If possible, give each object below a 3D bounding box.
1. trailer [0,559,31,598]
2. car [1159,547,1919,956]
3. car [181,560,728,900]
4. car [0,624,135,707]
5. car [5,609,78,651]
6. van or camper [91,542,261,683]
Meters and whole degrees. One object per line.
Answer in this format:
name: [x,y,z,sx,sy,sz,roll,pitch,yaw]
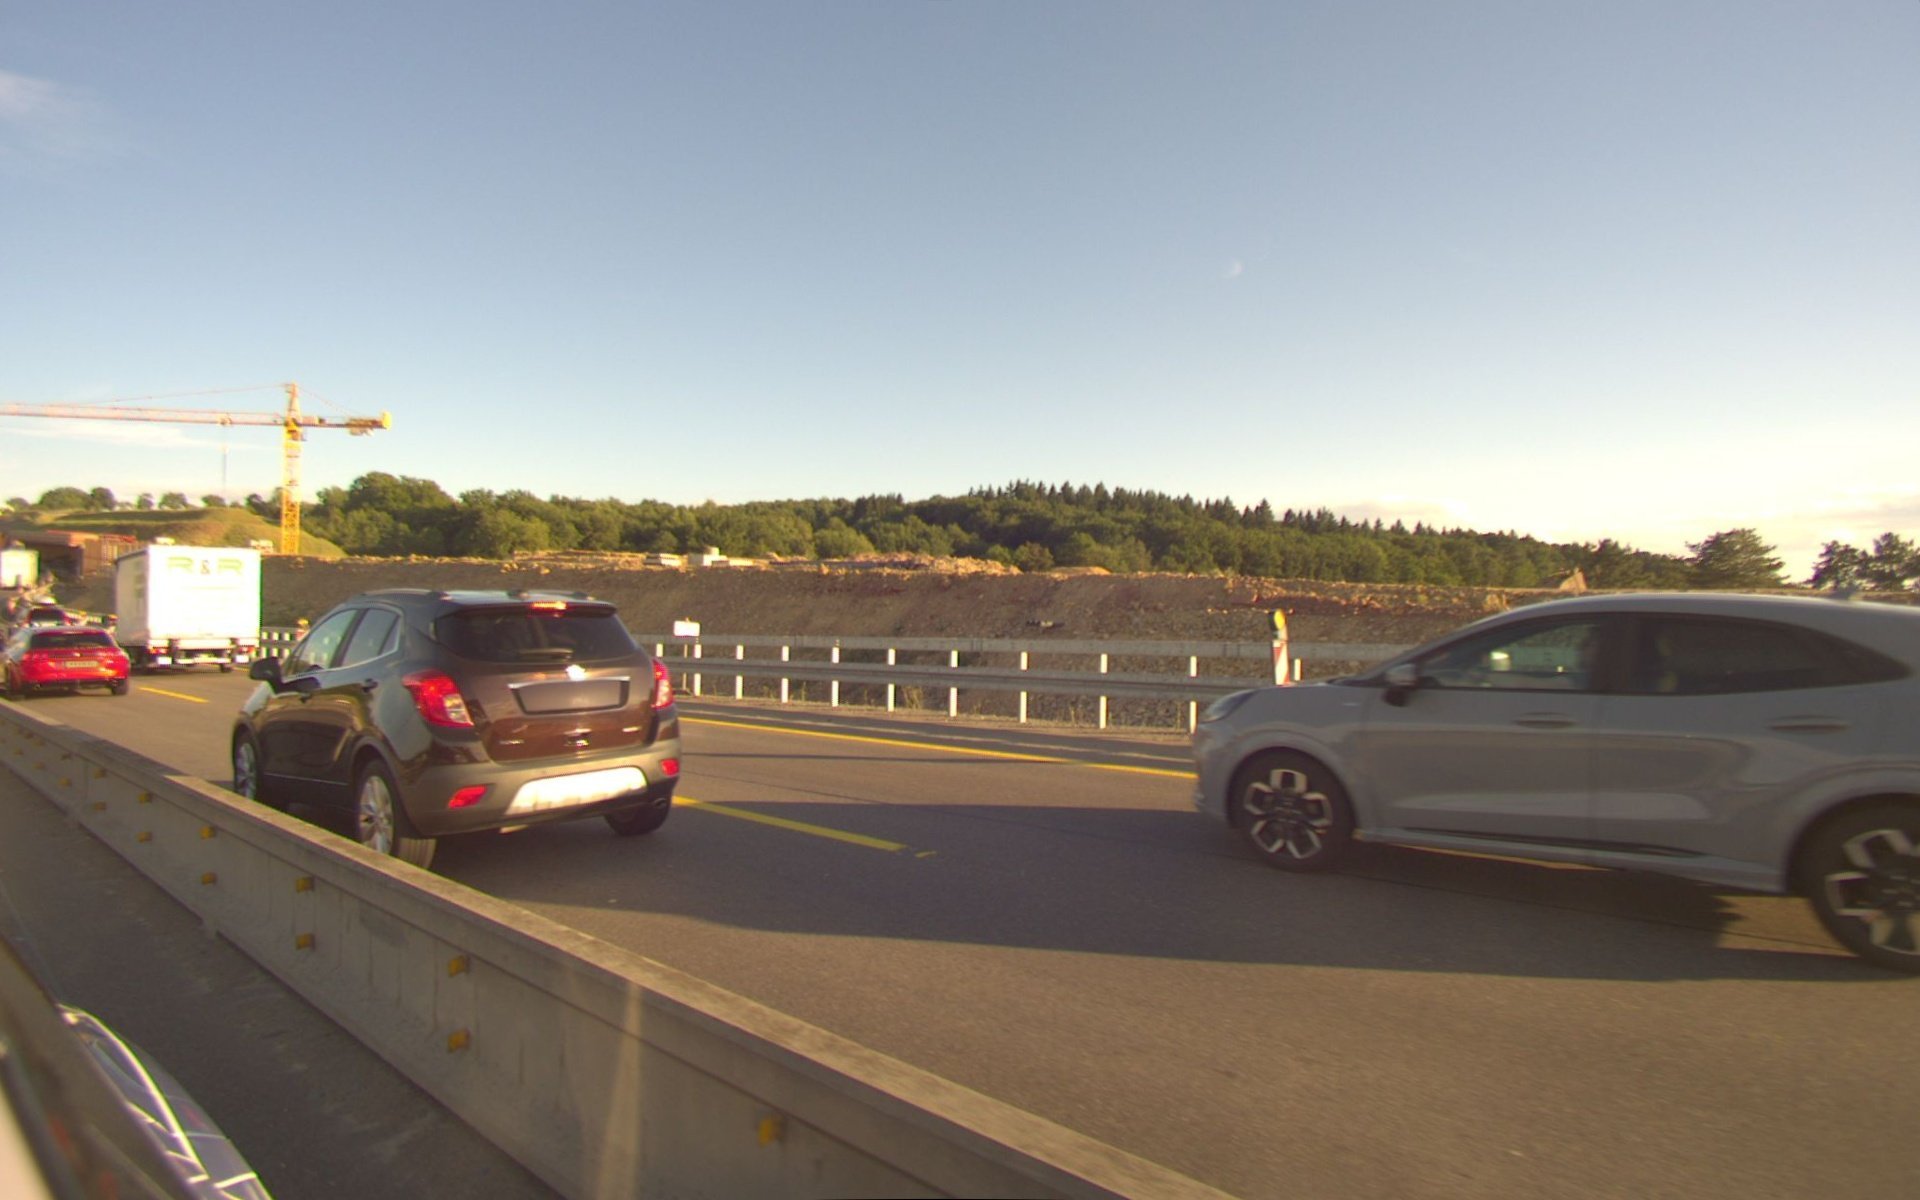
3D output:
trailer: [-107.159,-2.536,114.655,2.501,4.245,13.946,0,2,-44]
car: [3.366,0.610,5.326,4.290,1.580,1.674,-1,-1,41]
car: [-3.747,0.672,7.091,4.526,1.652,1.808,-1,-1,40]
car: [-18.277,1.232,20.382,4.703,1.474,1.797,-1,-1,41]
car: [-41.426,1.293,45.606,4.439,1.778,1.972,0,0,42]
van or camper: [-22.260,0.378,28.575,7.410,3.525,2.432,-1,-1,41]
